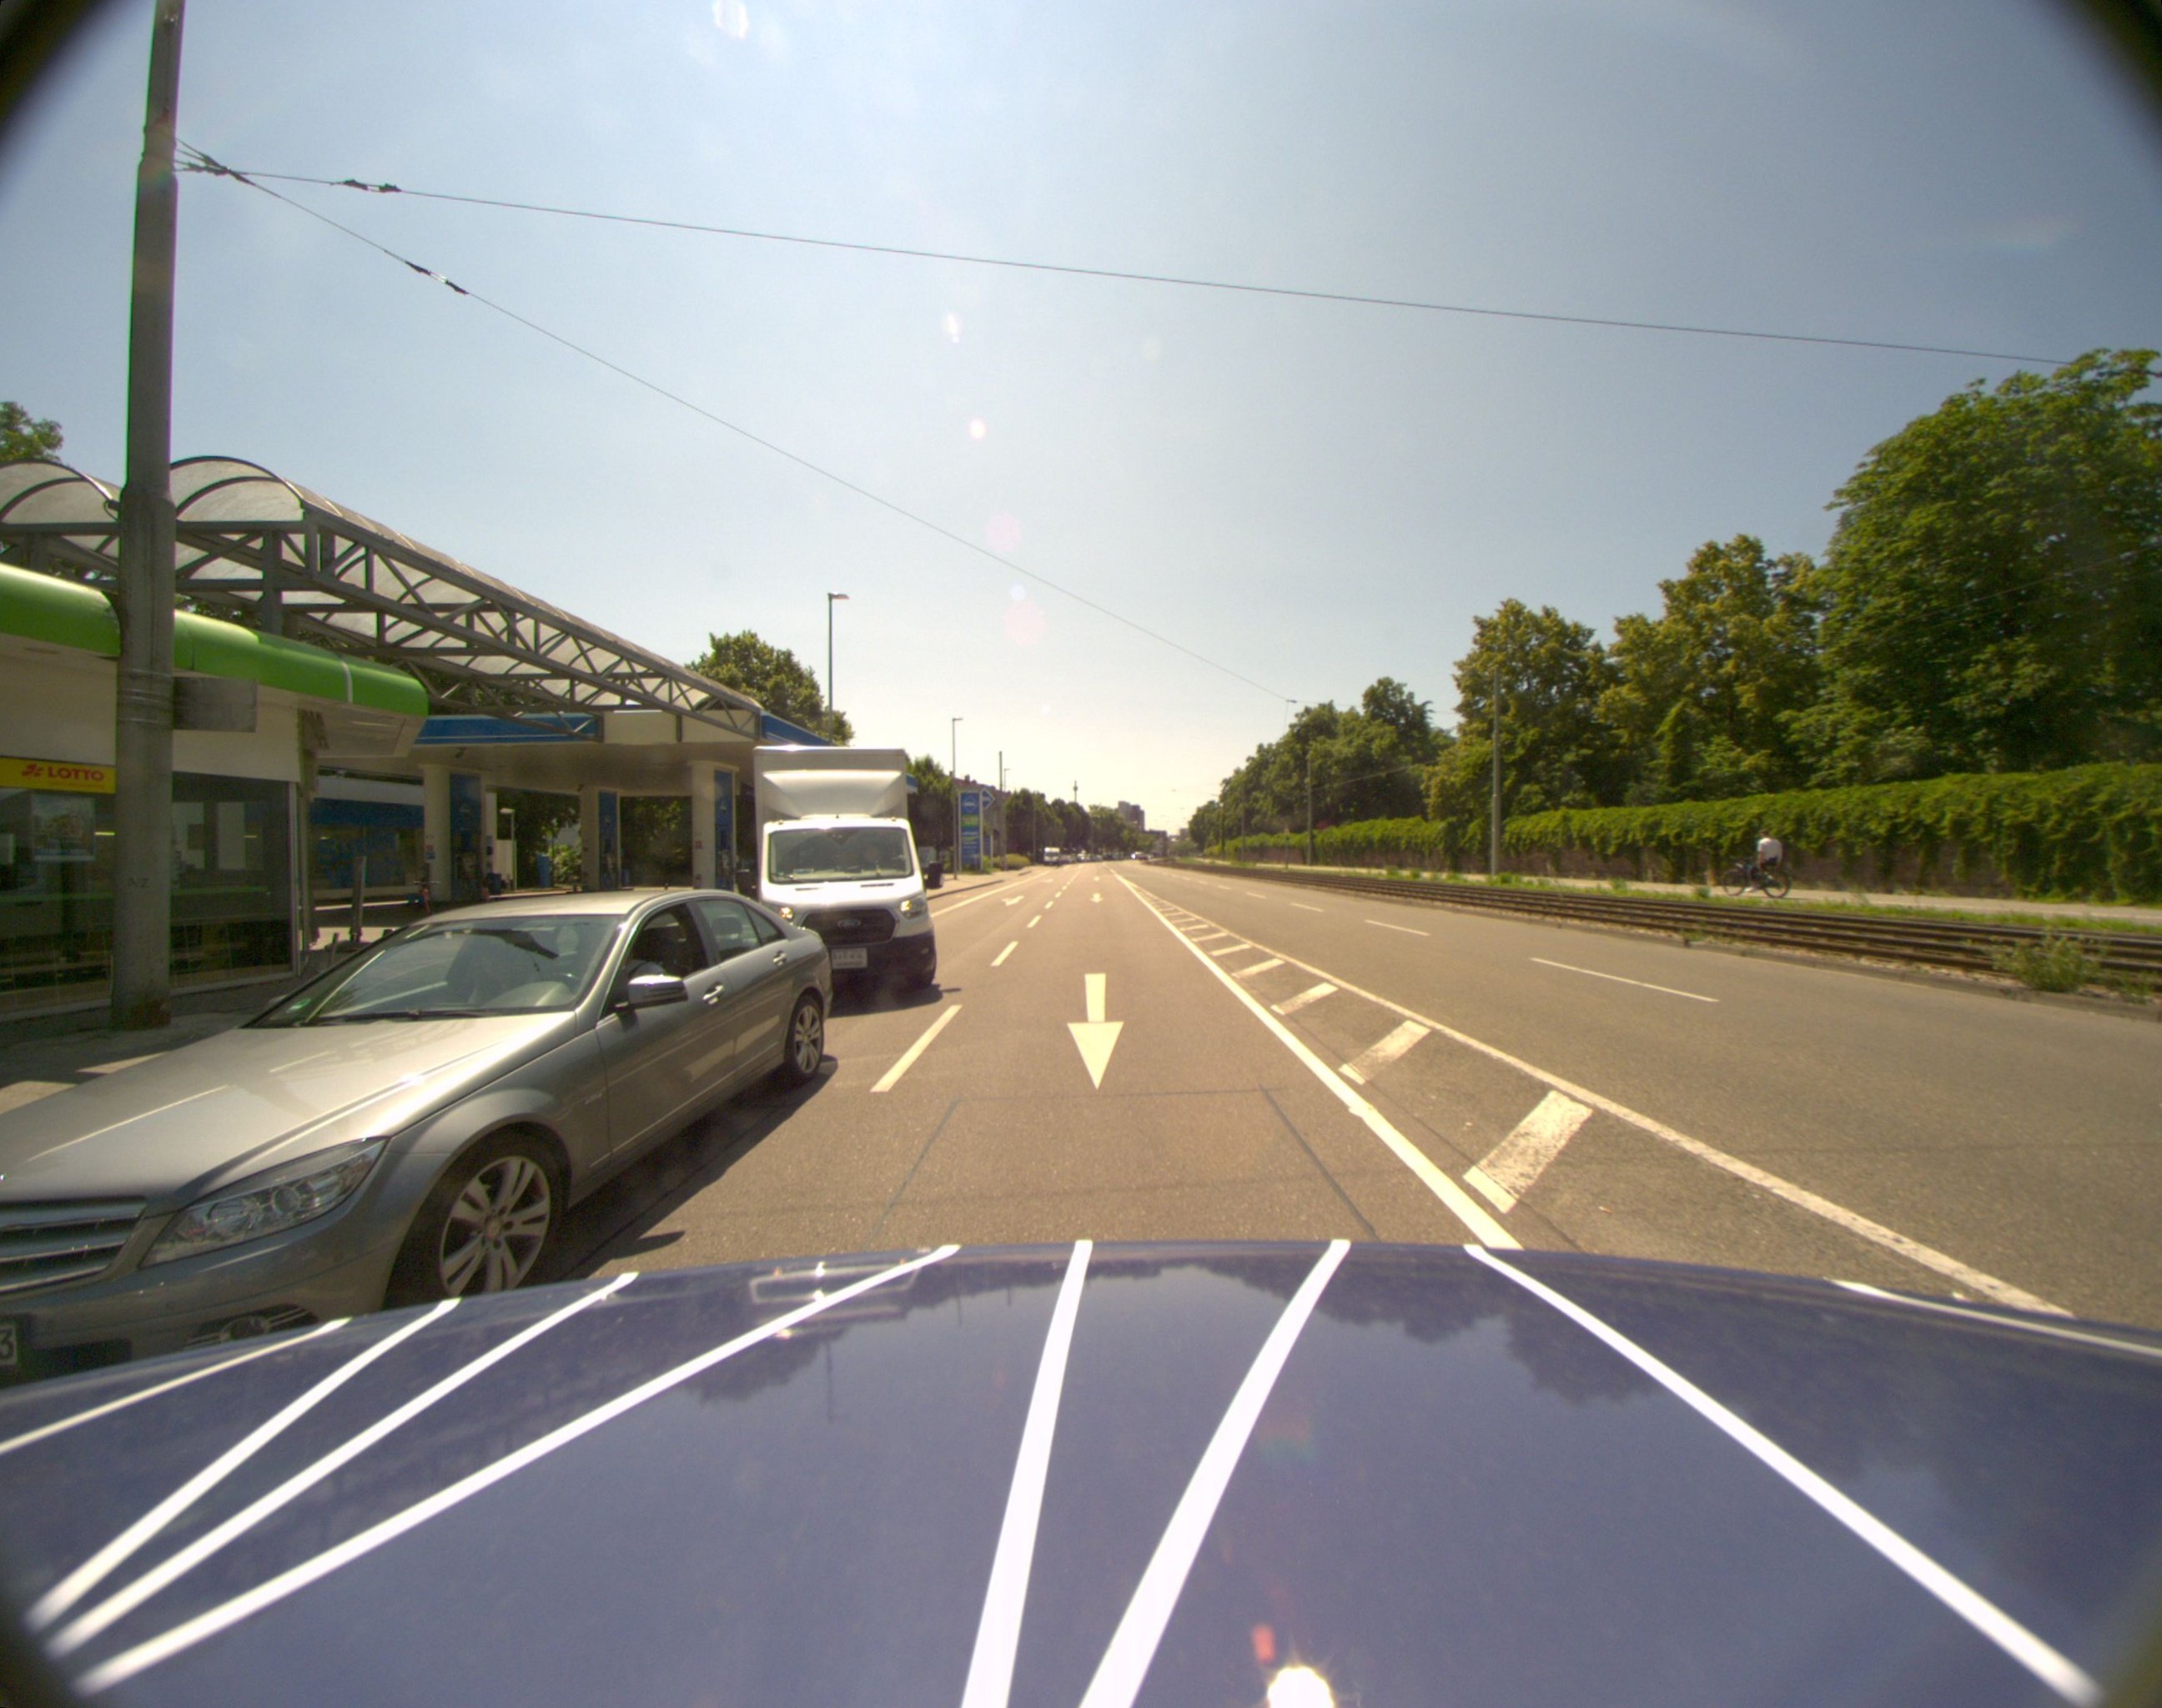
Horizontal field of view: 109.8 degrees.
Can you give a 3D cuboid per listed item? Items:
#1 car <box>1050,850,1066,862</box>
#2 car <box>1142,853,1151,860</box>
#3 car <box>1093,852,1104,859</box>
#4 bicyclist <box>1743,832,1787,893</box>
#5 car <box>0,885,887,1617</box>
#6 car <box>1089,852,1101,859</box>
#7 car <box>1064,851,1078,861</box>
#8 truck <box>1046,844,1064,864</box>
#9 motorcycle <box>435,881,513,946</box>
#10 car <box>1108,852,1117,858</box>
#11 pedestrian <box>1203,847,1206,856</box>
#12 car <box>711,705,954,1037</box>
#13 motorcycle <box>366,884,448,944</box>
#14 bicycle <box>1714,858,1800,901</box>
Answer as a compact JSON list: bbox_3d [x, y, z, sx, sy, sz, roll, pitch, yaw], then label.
[{"bbox_3d":[-3.301,0.278,109.434,1.912,1.488,4.001,-2,1,4],"label":"car"},{"bbox_3d":[15.678,0.541,181.366,1.800,1.488,3.966,-2,0,9],"label":"car"},{"bbox_3d":[4.049,0.285,176.892,1.911,1.488,4.002,-2,1,10],"label":"car"},{"bbox_3d":[18.348,0.214,20.396,0.483,1.603,0.769,-2,1,1],"label":"bicyclist"},{"bbox_3d":[-2.790,1.053,4.409,1.717,1.464,5.302,-3,0,2],"label":"car"},{"bbox_3d":[3.171,0.373,172.037,1.911,1.488,4.002,-2,1,10],"label":"car"},{"bbox_3d":[-1.665,0.271,126.597,1.912,1.488,4.001,-2,1,4],"label":"car"},{"bbox_3d":[-3.450,-0.030,101.519,1.998,2.462,5.237,-2,1,1],"label":"truck"},{"bbox_3d":[-11.575,1.126,14.494,1.157,1.203,0.364,1,-1,-1],"label":"motorcycle"},{"bbox_3d":[8.351,0.316,203.203,1.911,1.488,4.002,-2,1,10],"label":"car"},{"bbox_3d":[23.257,-0.428,143.566,0.453,1.655,0.302,-2,0,1],"label":"pedestrian"},{"bbox_3d":[-3.916,0.148,12.009,2.232,3.316,8.622,-3,1,-19],"label":"car"},{"bbox_3d":[-12.846,1.140,14.494,1.157,1.107,0.396,1,-1,-1],"label":"motorcycle"},{"bbox_3d":[18.375,0.676,20.727,0.617,1.049,1.978,-2,1,2],"label":"bicycle"}]
